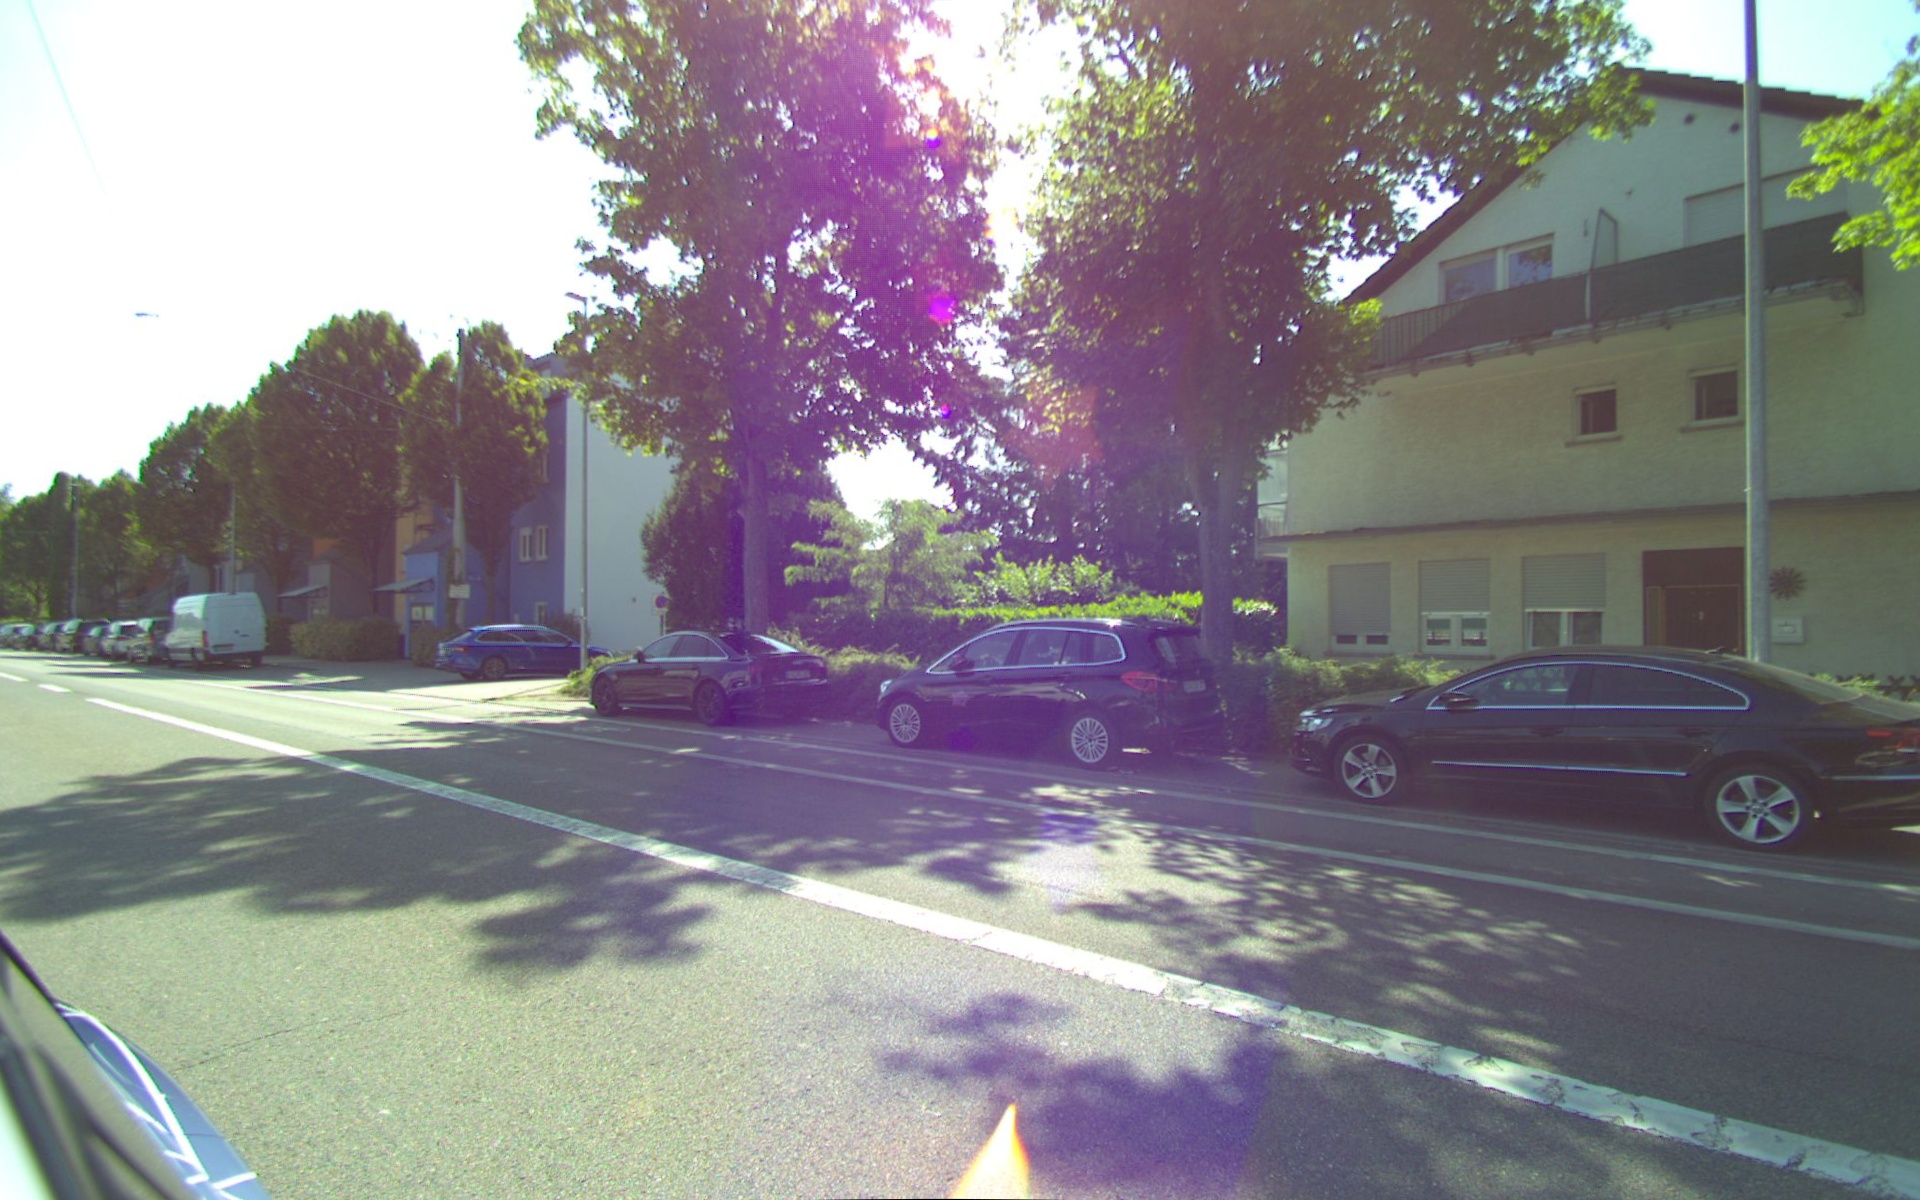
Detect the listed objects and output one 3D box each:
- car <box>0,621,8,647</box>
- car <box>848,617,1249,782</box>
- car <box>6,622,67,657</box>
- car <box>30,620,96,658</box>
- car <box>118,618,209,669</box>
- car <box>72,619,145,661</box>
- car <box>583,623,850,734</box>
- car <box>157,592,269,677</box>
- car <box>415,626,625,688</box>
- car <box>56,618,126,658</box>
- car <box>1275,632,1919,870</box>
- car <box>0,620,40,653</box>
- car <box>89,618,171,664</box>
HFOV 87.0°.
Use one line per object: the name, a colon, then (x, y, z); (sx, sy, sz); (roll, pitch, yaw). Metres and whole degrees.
car: (-68.734, 2.471, 71.160); (4.766, 1.818, 1.974); (-2, 4, 41)
car: (0.902, 1.034, 12.221); (4.619, 1.583, 1.844); (-1, 0, 41)
car: (-54.893, 2.335, 60.130); (4.766, 1.818, 1.974); (-2, 4, 41)
car: (-50.251, 2.159, 56.667); (4.766, 1.818, 1.974); (-2, 4, 41)
car: (-33.479, 1.789, 42.488); (4.766, 1.818, 1.974); (-2, 4, 41)
car: (-42.118, 1.939, 50.017); (4.254, 1.818, 1.974); (-2, 4, 41)
car: (-4.073, 1.168, 16.536); (4.616, 1.583, 1.845); (-1, -2, 39)
car: (-27.364, 1.225, 36.977); (6.213, 2.713, 1.973); (-1, 4, 43)
car: (-12.124, 1.516, 28.149); (1.892, 1.441, 5.001); (-2, -1, 45)
car: (-45.724, 1.978, 53.200); (4.766, 1.818, 1.974); (-2, 4, 41)
car: (5.226, 1.026, 8.416); (4.619, 1.426, 1.844); (-1, 0, 41)
car: (-59.905, 2.298, 63.928); (4.766, 1.818, 1.974); (-2, 4, 41)
car: (-38.051, 1.851, 46.340); (4.766, 1.818, 1.974); (-2, 4, 41)
